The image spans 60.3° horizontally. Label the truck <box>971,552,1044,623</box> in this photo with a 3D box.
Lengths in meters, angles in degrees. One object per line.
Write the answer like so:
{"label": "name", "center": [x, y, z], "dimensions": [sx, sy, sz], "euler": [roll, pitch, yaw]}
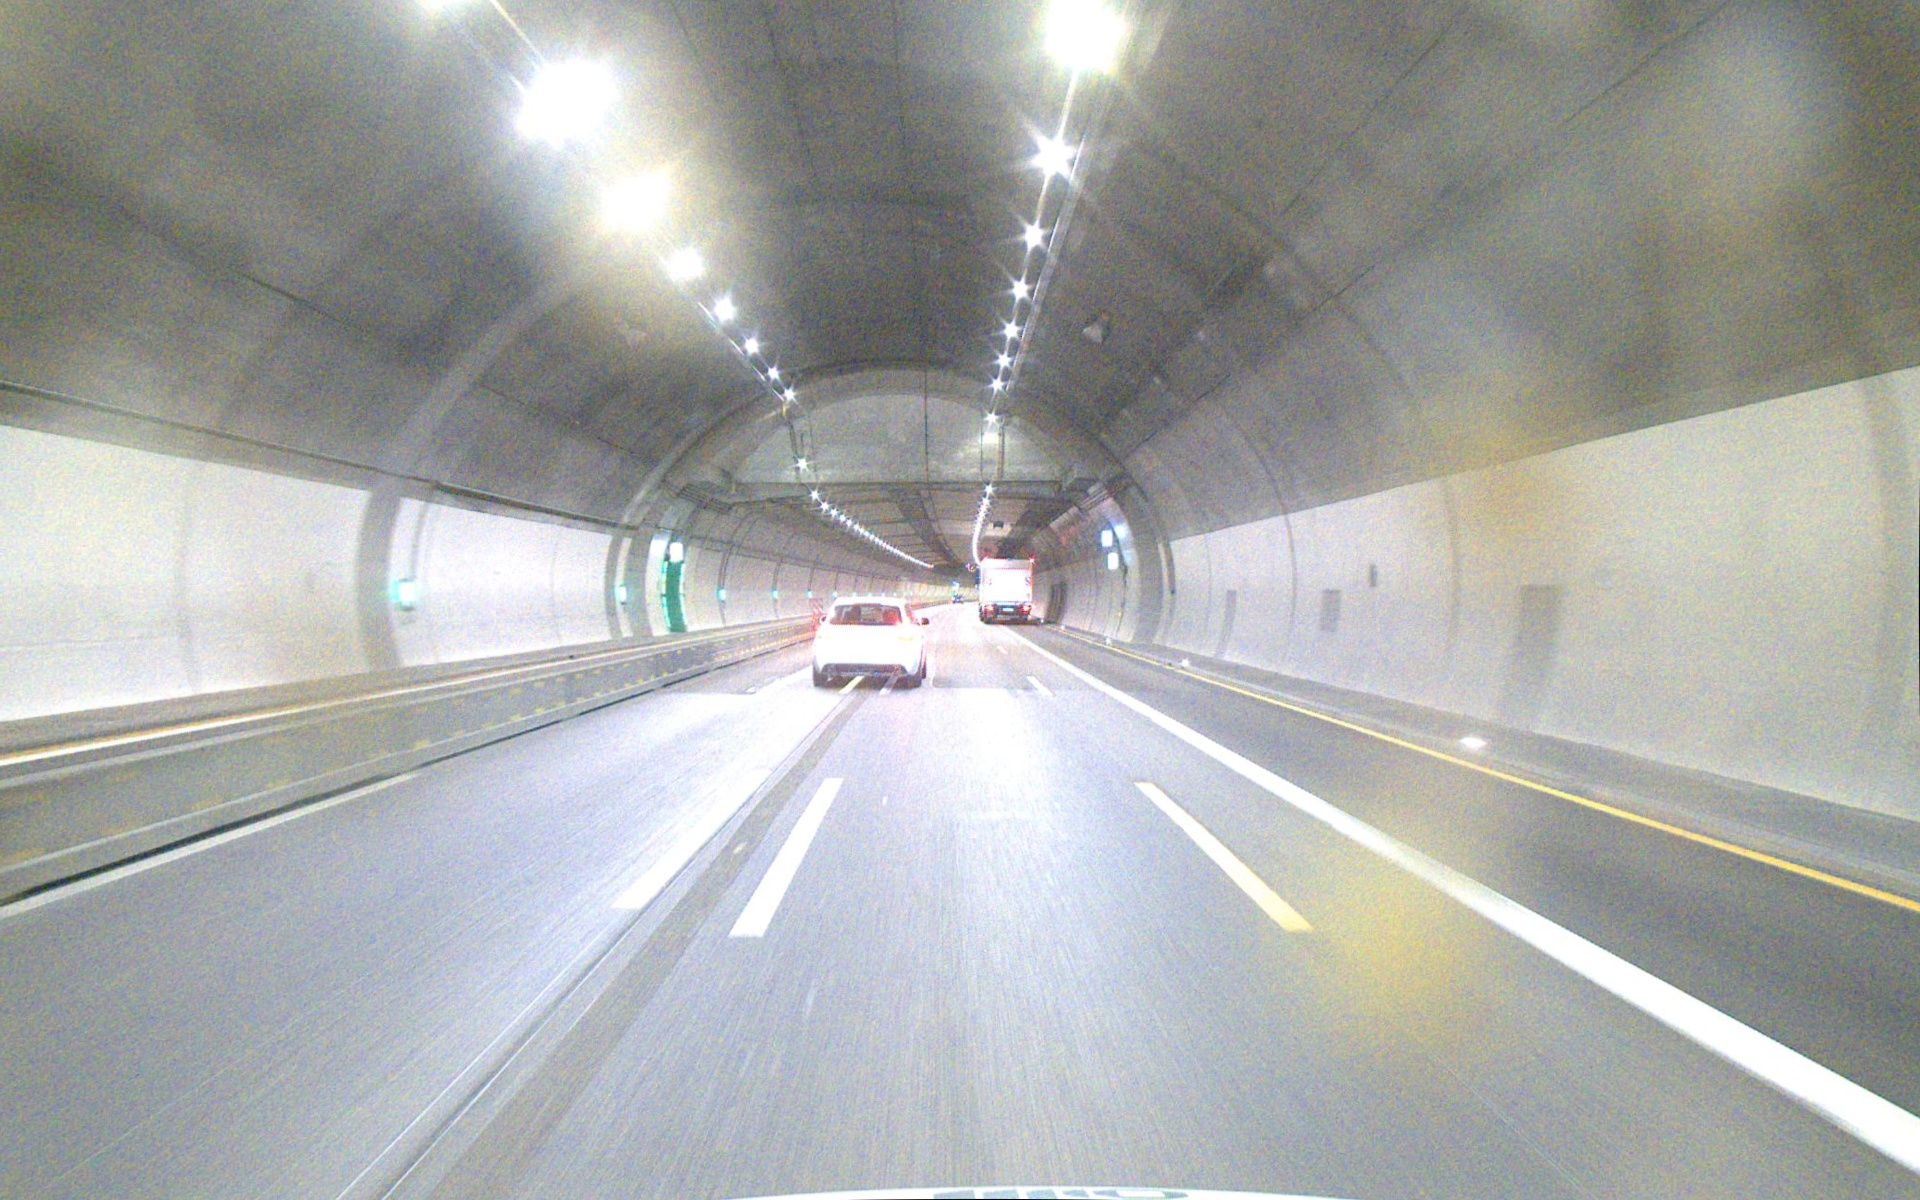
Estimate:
{"label": "truck", "center": [2.534, -0.680, 91.945], "dimensions": [3.519, 3.714, 10.720], "euler": [1, 0, -1]}

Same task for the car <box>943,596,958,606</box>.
{"label": "car", "center": [-1.428, 0.155, 251.871], "dimensions": [1.952, 1.545, 4.002], "euler": [1, 0, 4]}

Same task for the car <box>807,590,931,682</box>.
{"label": "car", "center": [-1.492, 0.564, 28.724], "dimensions": [1.953, 1.437, 4.741], "euler": [1, 0, -1]}
